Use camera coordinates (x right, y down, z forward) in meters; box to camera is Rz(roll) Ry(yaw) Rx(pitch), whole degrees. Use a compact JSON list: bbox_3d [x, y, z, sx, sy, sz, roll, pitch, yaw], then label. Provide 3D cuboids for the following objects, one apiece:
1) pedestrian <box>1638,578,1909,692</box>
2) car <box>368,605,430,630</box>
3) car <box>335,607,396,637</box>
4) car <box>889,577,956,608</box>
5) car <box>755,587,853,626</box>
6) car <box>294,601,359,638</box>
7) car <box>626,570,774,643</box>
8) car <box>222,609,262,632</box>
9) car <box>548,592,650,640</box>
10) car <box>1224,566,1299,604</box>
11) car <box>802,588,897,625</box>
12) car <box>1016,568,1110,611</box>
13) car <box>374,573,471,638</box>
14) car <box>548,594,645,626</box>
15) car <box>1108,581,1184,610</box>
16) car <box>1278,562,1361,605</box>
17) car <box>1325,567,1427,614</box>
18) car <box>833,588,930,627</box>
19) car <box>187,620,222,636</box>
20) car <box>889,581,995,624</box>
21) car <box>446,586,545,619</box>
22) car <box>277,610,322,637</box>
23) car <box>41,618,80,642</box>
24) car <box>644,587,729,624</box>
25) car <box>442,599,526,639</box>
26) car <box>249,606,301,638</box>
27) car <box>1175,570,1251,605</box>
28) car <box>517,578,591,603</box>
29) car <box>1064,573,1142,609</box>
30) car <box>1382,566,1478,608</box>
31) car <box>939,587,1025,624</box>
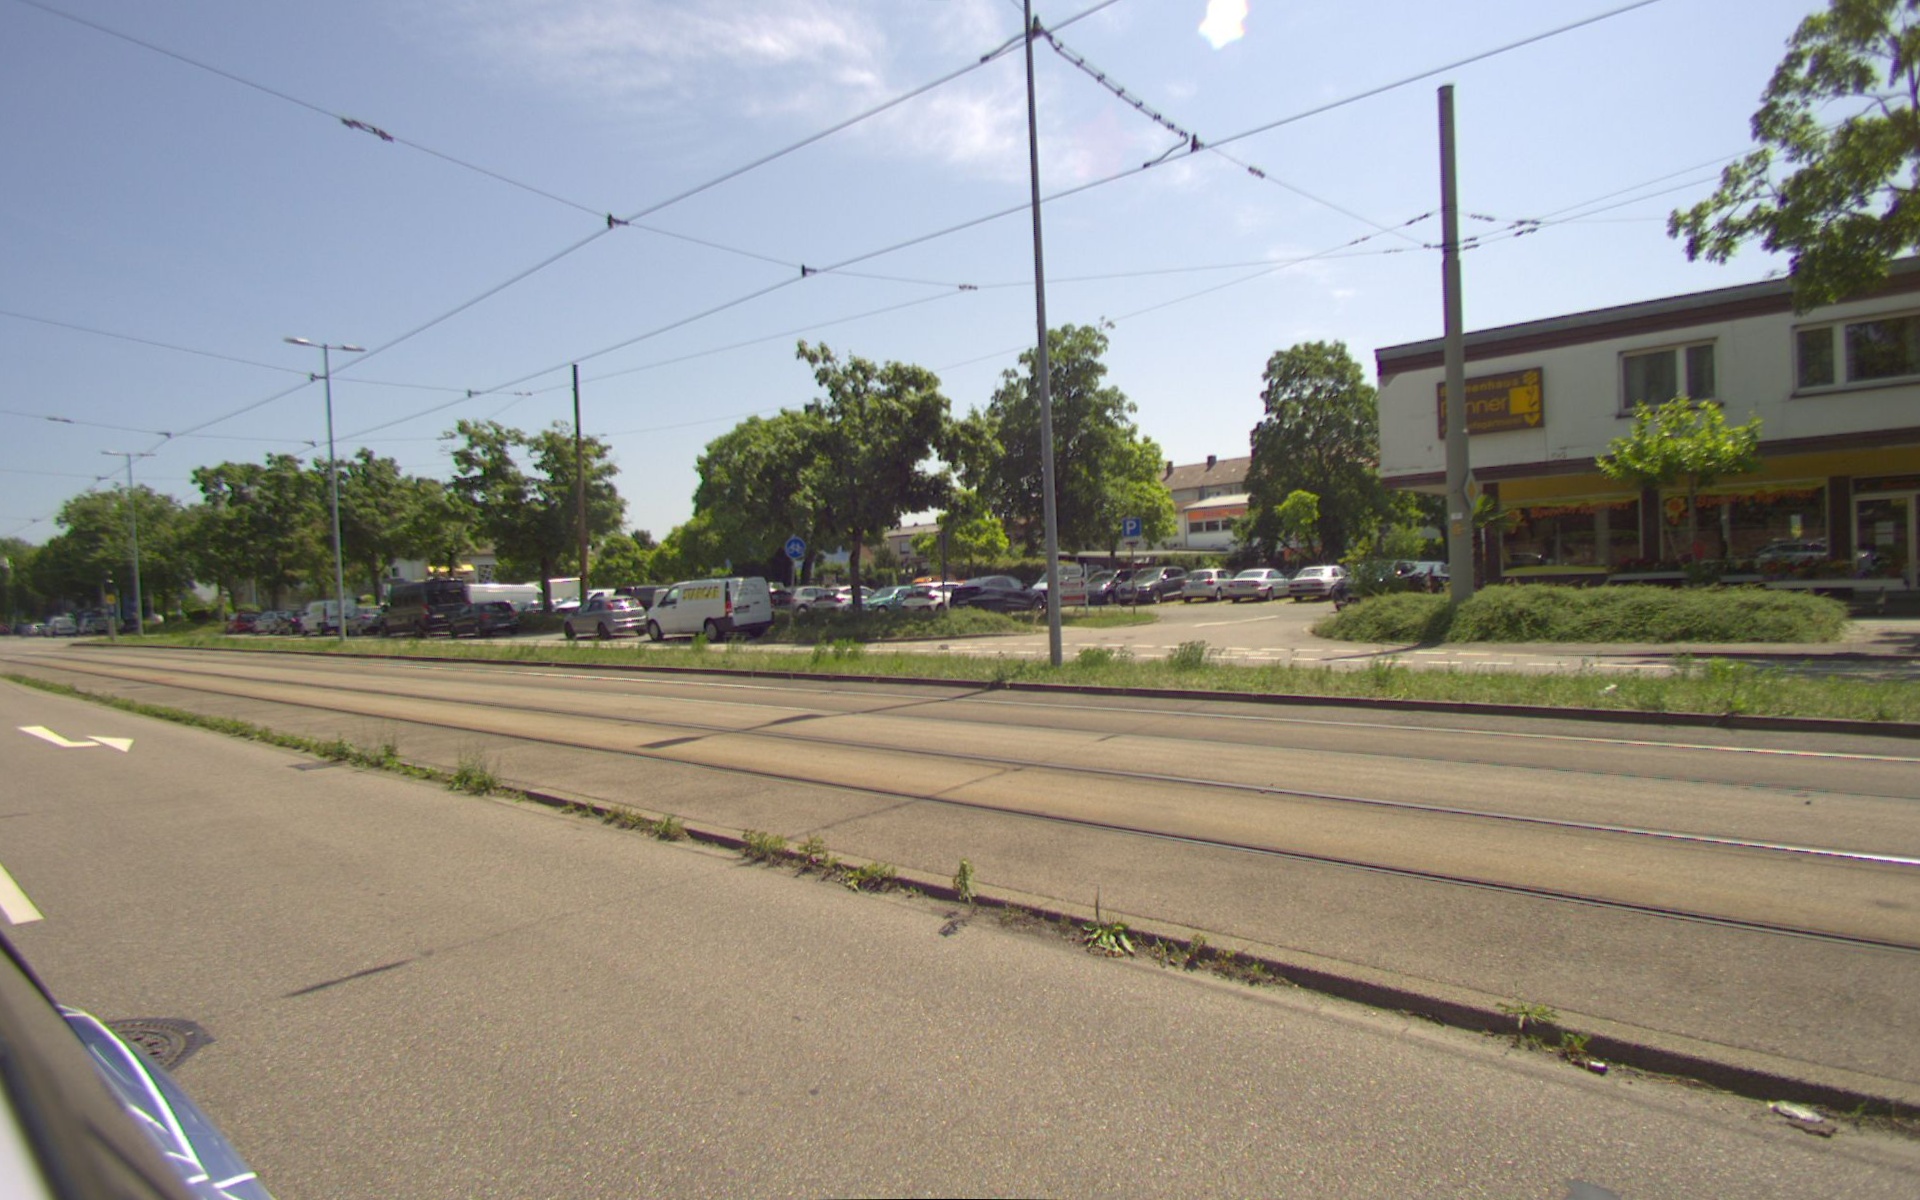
[{"bbox_3d":[15.977,0.628,20.060,3.998,2.029,1.973,-1,0,41],"label":"pedestrian"},{"bbox_3d":[-44.269,1.353,79.974,1.712,1.888,3.953,-1,0,35],"label":"car"},{"bbox_3d":[-31.020,1.105,52.778,3.608,1.475,1.744,-1,0,43],"label":"car"},{"bbox_3d":[-2.085,-0.427,58.006,1.689,1.665,4.081,-2,0,35],"label":"car"},{"bbox_3d":[-6.838,0.272,44.714,2.018,1.501,4.116,-2,1,34],"label":"car"},{"bbox_3d":[-35.454,1.066,56.598,4.817,1.963,1.899,-1,0,43],"label":"car"},{"bbox_3d":[-8.423,0.219,32.490,5.343,2.025,1.856,-1,4,42],"label":"car"},{"bbox_3d":[-48.023,1.370,67.678,3.424,1.491,1.561,-1,0,43],"label":"car"},{"bbox_3d":[-13.131,0.592,36.714,4.125,1.513,1.633,-1,4,42],"label":"car"},{"bbox_3d":[13.226,-0.653,44.230,1.520,1.591,3.943,-1,0,43],"label":"car"},{"bbox_3d":[-4.692,0.254,43.518,1.855,1.501,4.099,-1,0,34],"label":"car"},{"bbox_3d":[5.248,-0.542,51.172,2.225,2.085,5.055,-1,0,41],"label":"car"},{"bbox_3d":[-25.161,0.271,47.272,5.666,2.859,2.214,-1,0,42],"label":"car"},{"bbox_3d":[-20.698,0.558,57.763,1.998,1.588,4.866,-2,1,38],"label":"car"},{"bbox_3d":[8.737,-0.201,47.354,1.764,1.294,3.675,-1,0,43],"label":"car"},{"bbox_3d":[15.031,-0.680,42.210,1.804,1.669,3.943,-1,0,43],"label":"car"},{"bbox_3d":[13.226,-0.327,32.089,1.682,1.306,3.944,-3,1,43],"label":"car"},{"bbox_3d":[-3.170,0.266,41.514,1.908,1.501,3.995,-1,0,34],"label":"car"},{"bbox_3d":[-56.746,2.080,75.995,3.424,1.167,1.561,-1,0,43],"label":"car"},{"bbox_3d":[-0.683,0.073,40.307,1.983,1.501,4.119,-2,1,40],"label":"car"},{"bbox_3d":[-29.455,0.157,64.338,2.029,1.970,5.362,-1,0,43],"label":"car"},{"bbox_3d":[-39.440,1.382,60.384,3.261,1.489,1.410,-1,0,41],"label":"car"},{"bbox_3d":[-78.420,2.581,88.198,4.208,2.005,1.799,-1,0,38],"label":"car"},{"bbox_3d":[-14.195,0.288,52.646,1.795,1.730,3.950,-2,1,37],"label":"car"},{"bbox_3d":[-20.302,0.800,43.146,3.751,1.589,1.950,-1,0,42],"label":"car"},{"bbox_3d":[-43.036,1.367,63.521,4.495,1.907,1.614,-1,0,41],"label":"car"},{"bbox_3d":[11.629,-0.571,46.357,1.661,1.531,3.943,-1,0,43],"label":"car"},{"bbox_3d":[-35.406,-0.817,88.477,2.145,2.078,5.674,-1,0,38],"label":"car"},{"bbox_3d":[7.021,-0.440,49.515,1.804,1.669,3.943,-1,0,43],"label":"car"},{"bbox_3d":[17.236,-0.474,37.036,2.000,1.432,4.086,-1,0,43],"label":"car"},{"bbox_3d":[0.879,0.179,38.173,1.639,1.241,3.385,-2,1,34],"label":"car"}]
